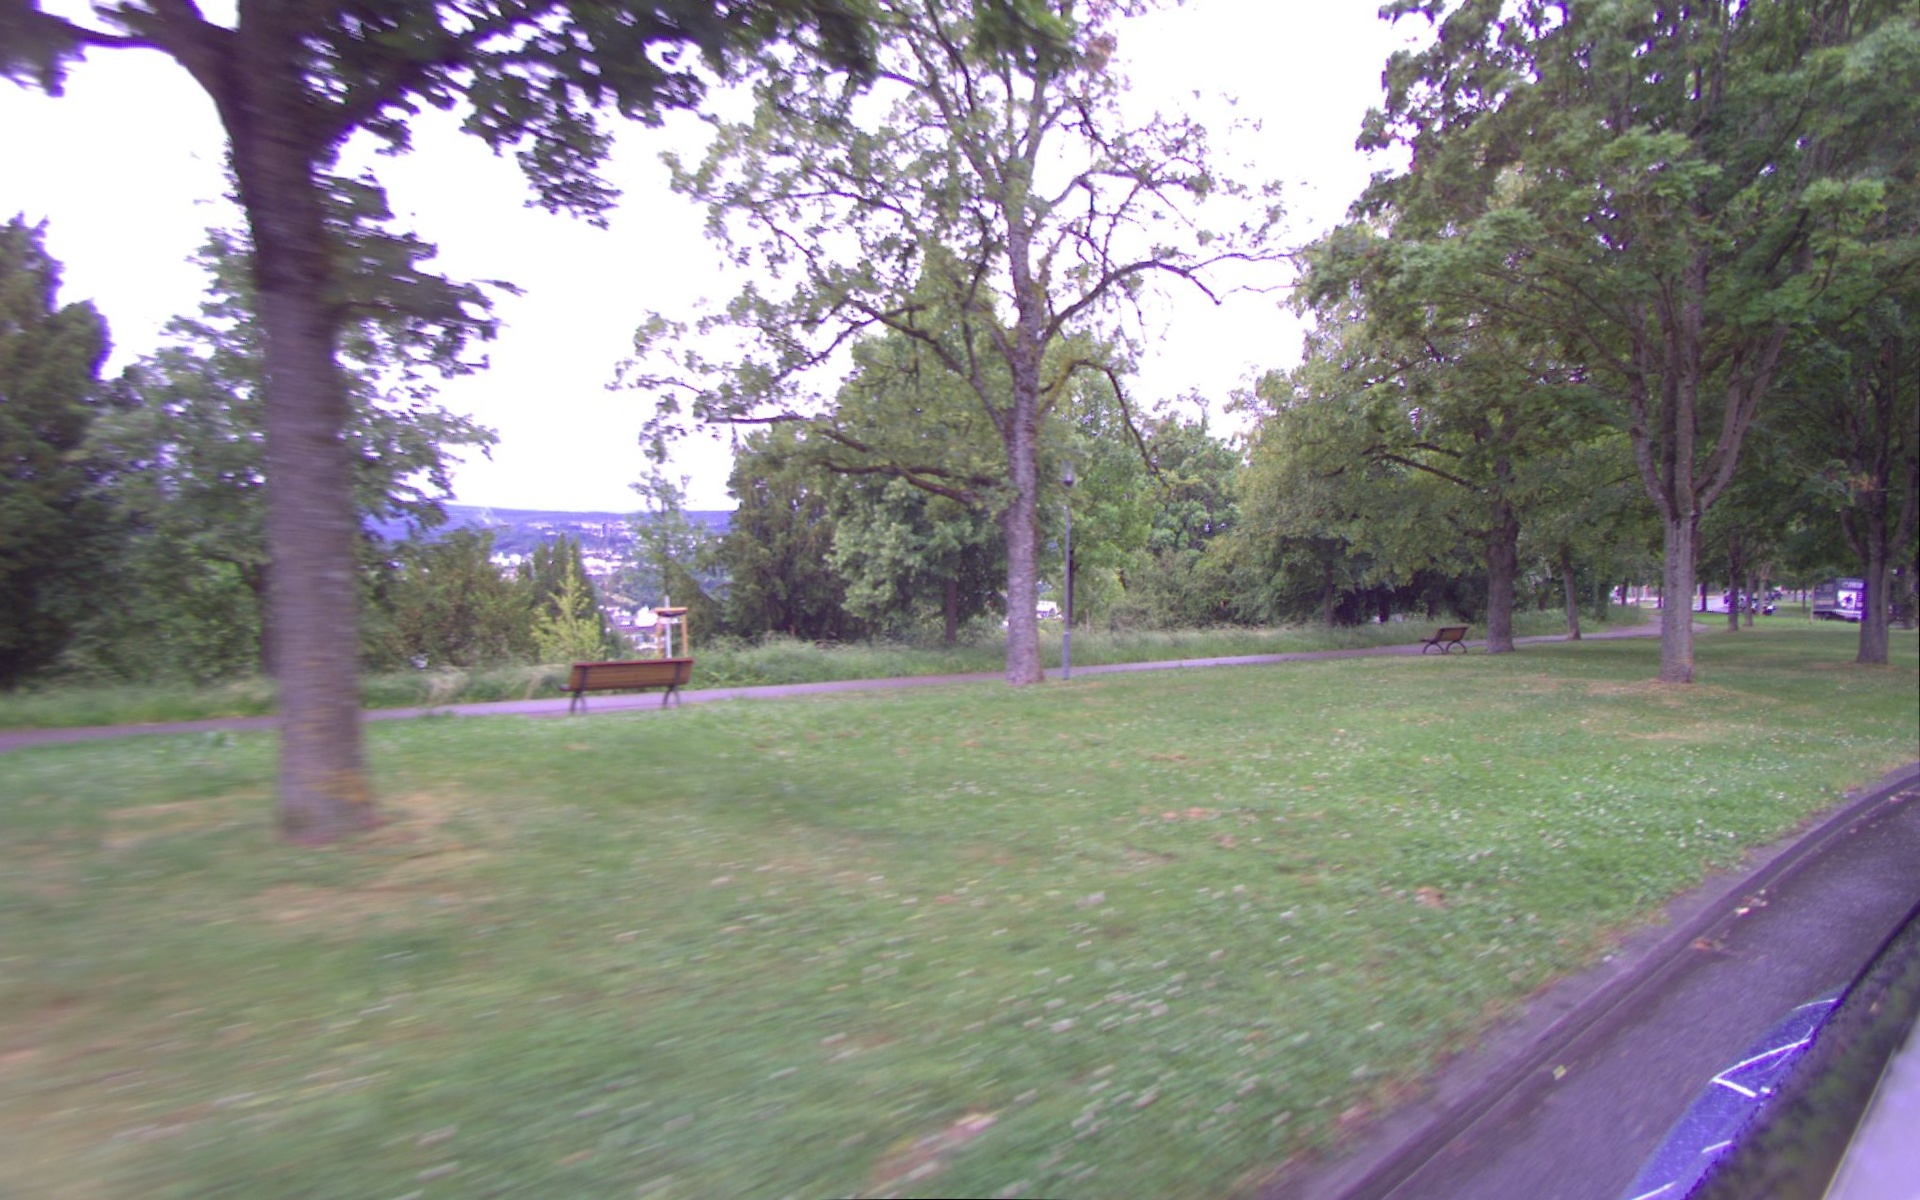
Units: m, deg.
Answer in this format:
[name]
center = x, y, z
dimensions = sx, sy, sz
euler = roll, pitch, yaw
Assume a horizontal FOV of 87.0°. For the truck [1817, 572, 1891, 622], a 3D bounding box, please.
[truck]
center = 56.989, -0.228, 64.645
dimensions = 2.125, 3.084, 5.124
euler = 1, 1, 25
